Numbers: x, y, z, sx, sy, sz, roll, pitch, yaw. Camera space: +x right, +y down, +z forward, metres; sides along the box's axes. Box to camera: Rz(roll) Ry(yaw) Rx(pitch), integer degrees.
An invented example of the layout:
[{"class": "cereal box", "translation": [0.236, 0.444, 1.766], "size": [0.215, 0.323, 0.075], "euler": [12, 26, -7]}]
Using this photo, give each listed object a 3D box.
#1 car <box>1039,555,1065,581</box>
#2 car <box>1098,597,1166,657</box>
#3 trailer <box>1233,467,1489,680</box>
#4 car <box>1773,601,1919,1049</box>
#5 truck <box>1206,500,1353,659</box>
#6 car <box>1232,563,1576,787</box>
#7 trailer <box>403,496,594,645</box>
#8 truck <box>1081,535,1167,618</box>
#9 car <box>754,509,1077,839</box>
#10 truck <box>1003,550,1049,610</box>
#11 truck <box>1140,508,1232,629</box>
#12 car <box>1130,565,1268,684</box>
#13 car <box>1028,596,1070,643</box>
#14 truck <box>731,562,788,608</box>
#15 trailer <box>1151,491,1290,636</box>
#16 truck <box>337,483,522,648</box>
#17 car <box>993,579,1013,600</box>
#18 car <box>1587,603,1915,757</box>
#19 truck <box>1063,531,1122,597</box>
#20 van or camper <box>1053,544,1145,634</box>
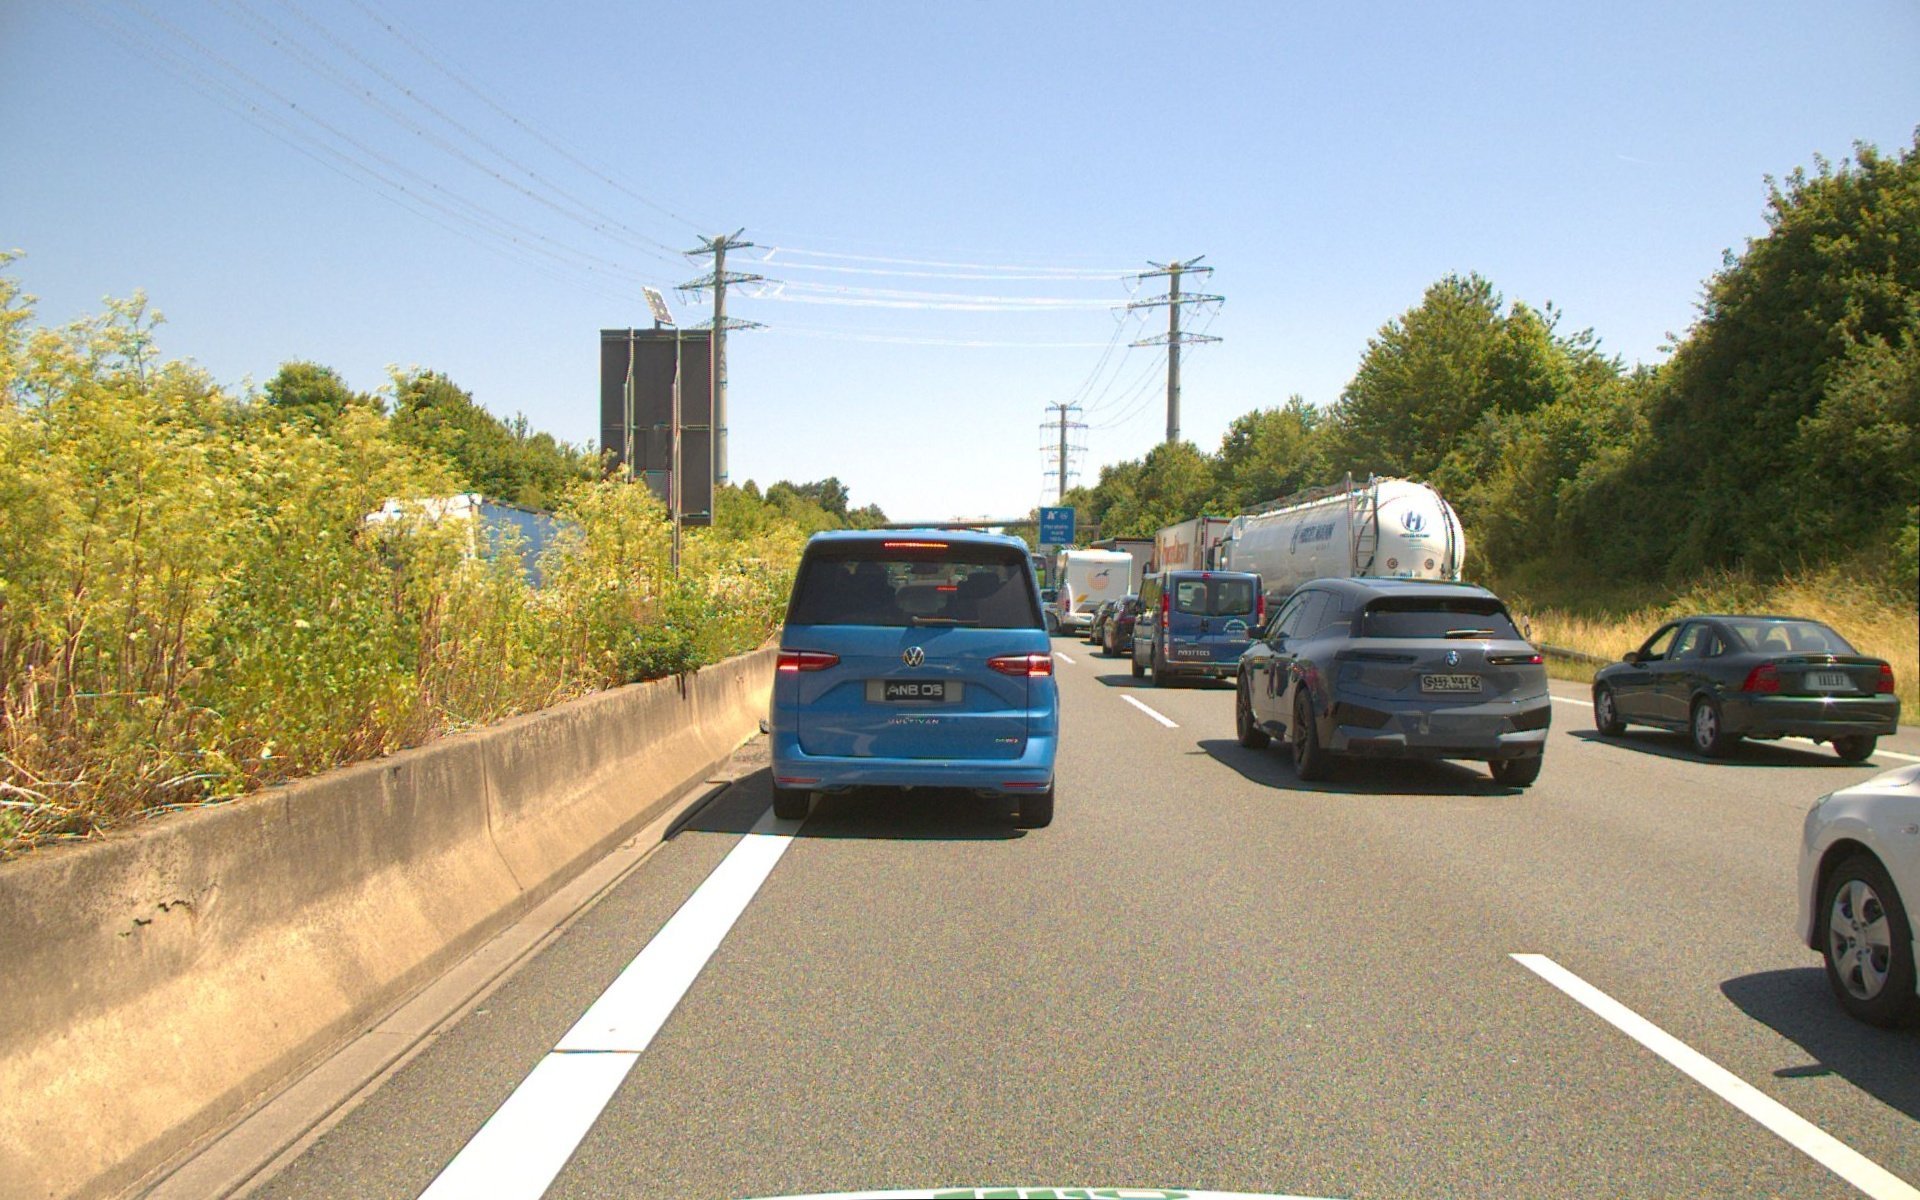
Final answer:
[{"class": "car", "translation": [7.837, -2.724, 141.411], "size": [1.953, 2.049, 4.000], "euler": [1, 0, 0]}, {"class": "car", "translation": [4.301, 0.672, 41.789], "size": [1.332, 1.445, 3.884], "euler": [-1, -1, 1]}, {"class": "trailer", "translation": [8.326, -0.499, 36.159], "size": [2.705, 3.912, 11.484], "euler": [0, 0, -1]}, {"class": "car", "translation": [4.115, 0.748, 4.588], "size": [1.779, 1.511, 4.000], "euler": [0, -1, 0]}, {"class": "truck", "translation": [8.255, -0.515, 43.407], "size": [2.736, 3.903, 5.571], "euler": [0, 0, -1]}, {"class": "car", "translation": [3.836, 0.605, 15.187], "size": [1.958, 1.745, 4.625], "euler": [0, -1, 0]}, {"class": "trailer", "translation": [-14.662, -0.844, 53.718], "size": [2.949, 4.302, 10.981], "euler": [1, 0, 1]}, {"class": "truck", "translation": [8.128, -1.064, 84.087], "size": [2.944, 3.832, 15.713], "euler": [1, 0, 1]}, {"class": "car", "translation": [-0.266, 0.428, 11.908], "size": [1.881, 1.919, 4.000], "euler": [2, 0, 0]}, {"class": "truck", "translation": [4.360, -1.290, 111.185], "size": [2.836, 3.832, 10.140], "euler": [1, 0, 1]}, {"class": "truck", "translation": [8.790, -1.193, 64.850], "size": [2.853, 4.547, 5.142], "euler": [0, 0, -1]}, {"class": "car", "translation": [4.196, 0.424, 29.681], "size": [1.884, 1.959, 4.236], "euler": [-1, -1, 1]}, {"class": "car", "translation": [4.013, 0.878, 75.049], "size": [1.798, 2.033, 4.000], "euler": [-1, -1, 1]}, {"class": "truck", "translation": [-15.124, -1.109, 125.795], "size": [2.708, 3.346, 11.820], "euler": [0, 0, 1]}, {"class": "trailer", "translation": [8.860, -1.154, 57.937], "size": [2.853, 4.547, 12.152], "euler": [0, 0, -1]}, {"class": "truck", "translation": [-14.756, -0.894, 46.596], "size": [2.949, 4.302, 6.686], "euler": [1, 0, 1]}, {"class": "car", "translation": [4.651, -1.147, 179.589], "size": [1.953, 2.163, 3.999], "euler": [1, 0, -1]}, {"class": "car", "translation": [8.260, 0.776, 17.691], "size": [1.607, 1.441, 3.989], "euler": [-1, -1, 0]}, {"class": "truck", "translation": [8.336, -2.152, 105.672], "size": [2.836, 3.832, 13.345], "euler": [1, 0, 1]}, {"class": "van or camper", "translation": [5.011, -0.372, 60.744], "size": [2.896, 3.075, 7.103], "euler": [1, 0, 1]}]
